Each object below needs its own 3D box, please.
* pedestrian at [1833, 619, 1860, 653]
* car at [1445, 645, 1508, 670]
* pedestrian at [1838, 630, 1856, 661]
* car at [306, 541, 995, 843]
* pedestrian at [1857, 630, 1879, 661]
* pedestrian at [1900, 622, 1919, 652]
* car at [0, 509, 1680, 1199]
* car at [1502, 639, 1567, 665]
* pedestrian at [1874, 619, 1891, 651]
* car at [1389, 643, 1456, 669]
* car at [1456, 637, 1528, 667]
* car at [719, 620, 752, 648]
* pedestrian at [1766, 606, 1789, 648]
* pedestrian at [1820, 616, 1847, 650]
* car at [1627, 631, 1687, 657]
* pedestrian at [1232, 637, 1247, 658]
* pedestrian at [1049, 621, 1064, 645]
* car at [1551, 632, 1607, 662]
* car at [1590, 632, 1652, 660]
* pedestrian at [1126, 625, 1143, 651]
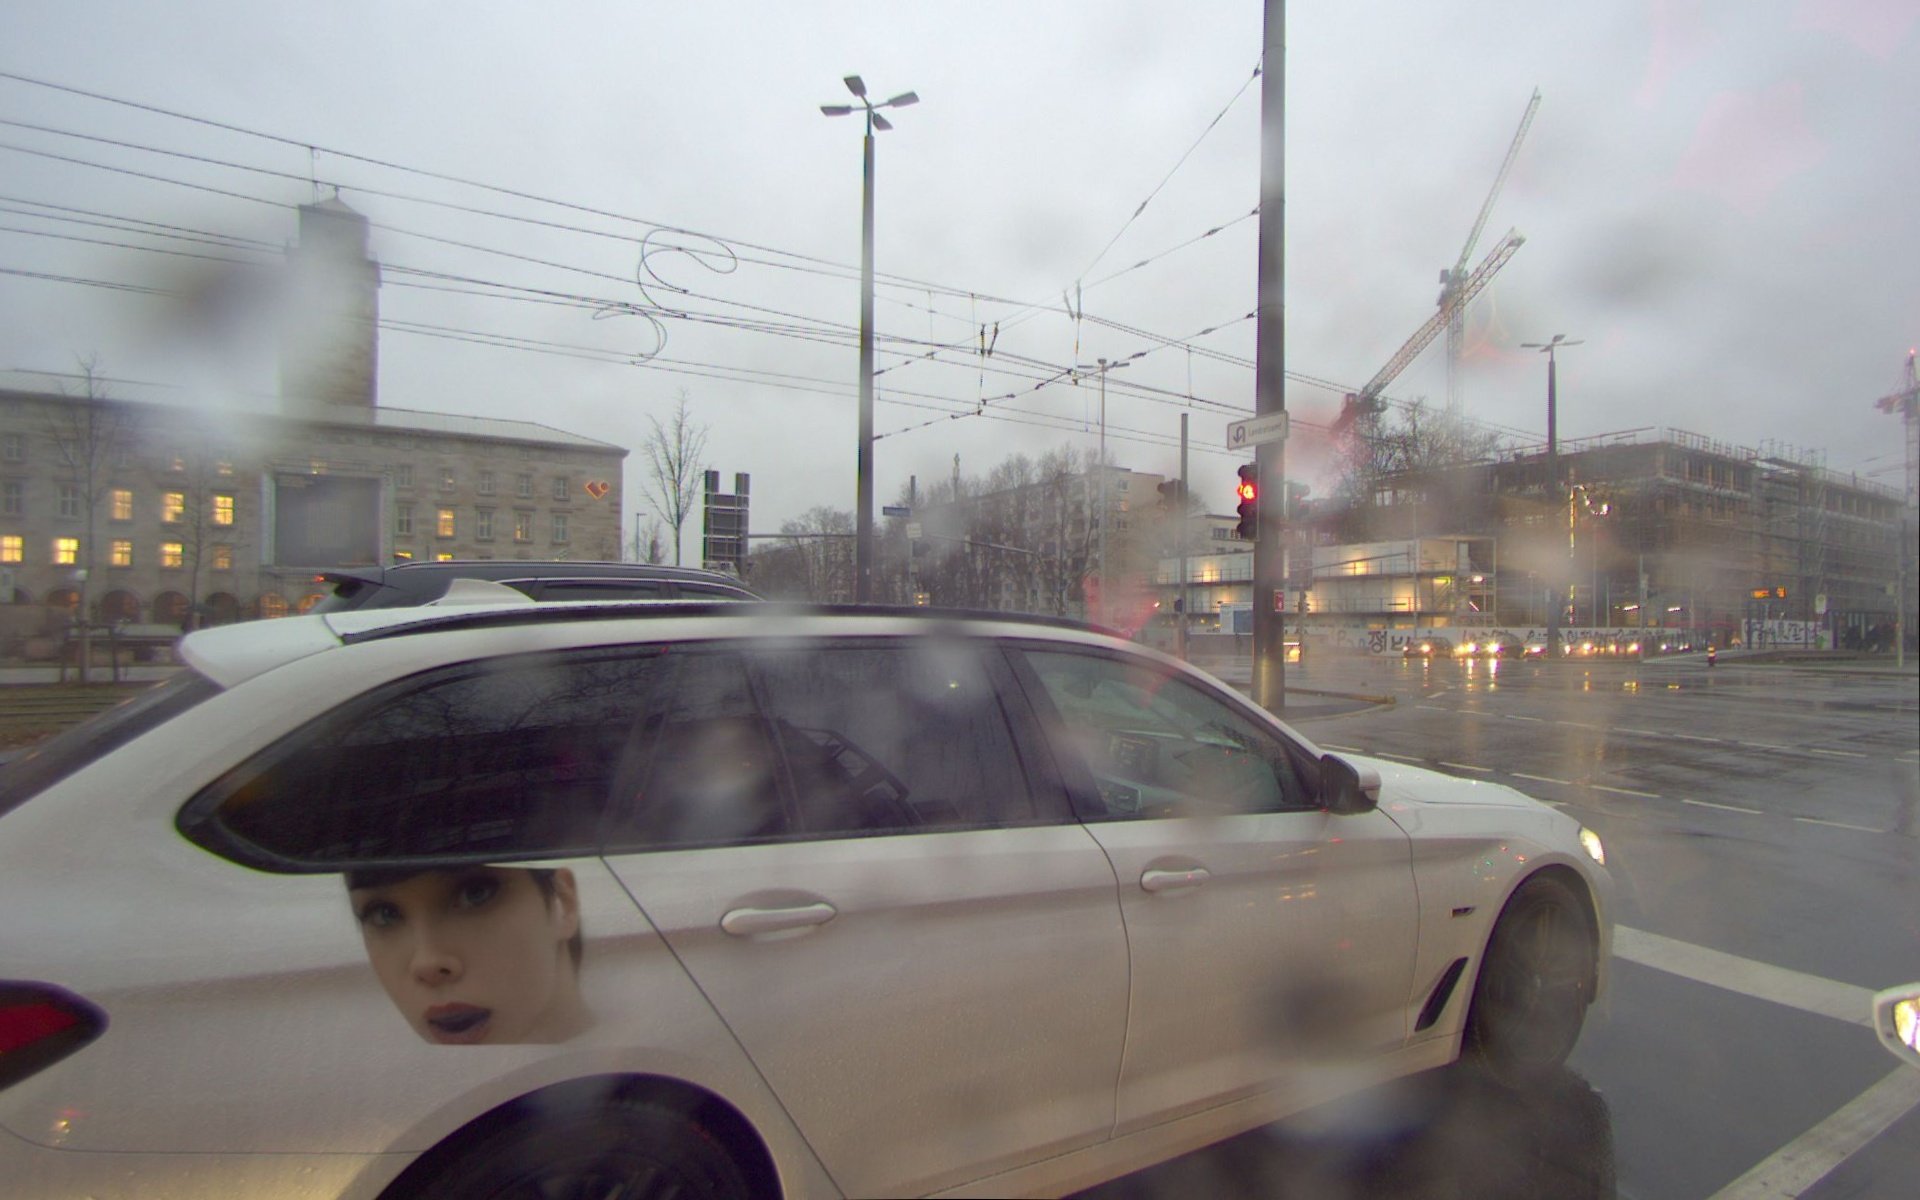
[{"bbox_3d":[55.296,2.227,62.631,1.081,2.040,0.938,2,0,-30],"label":"pedestrian"},{"bbox_3d":[34.783,3.861,67.668,3.953,1.550,1.984,2,-2,-30],"label":"car"},{"bbox_3d":[54.526,2.798,61.750,0.547,1.906,0.695,2,0,-30],"label":"pedestrian"},{"bbox_3d":[-2.069,0.562,7.235,4.238,1.605,1.958,2,-1,-29],"label":"car"},{"bbox_3d":[56.747,2.832,62.757,0.754,1.922,0.761,3,-1,-30],"label":"pedestrian"},{"bbox_3d":[65.984,2.586,69.680,1.085,2.040,0.934,2,0,-39],"label":"pedestrian"},{"bbox_3d":[0.007,0.708,3.102,4.508,1.506,2.007,2,-2,-31],"label":"car"},{"bbox_3d":[35.879,3.250,62.719,4.577,1.550,2.059,2,-2,-40],"label":"car"},{"bbox_3d":[57.957,2.184,63.104,0.659,1.994,0.566,2,1,-36],"label":"pedestrian"},{"bbox_3d":[29.334,3.553,63.682,3.953,1.550,1.984,2,-2,-30],"label":"car"},{"bbox_3d":[31.304,3.030,59.132,3.953,1.679,1.984,2,-2,-30],"label":"car"},{"bbox_3d":[-19.760,2.964,88.279,2.031,2.454,4.734,1,-1,-24],"label":"car"},{"bbox_3d":[47.215,1.569,57.991,0.754,2.354,0.761,3,-1,-30],"label":"pedestrian"},{"bbox_3d":[53.537,2.002,61.557,1.081,2.040,0.937,2,0,-30],"label":"pedestrian"},{"bbox_3d":[50.666,3.206,72.987,3.951,1.814,1.985,2,0,-28],"label":"car"},{"bbox_3d":[18.892,3.240,67.935,0.715,1.407,0.725,2,-2,-28],"label":"pedestrian"},{"bbox_3d":[8.154,2.817,84.996,0.809,1.959,0.916,2,0,-36],"label":"pedestrian"},{"bbox_3d":[40.918,3.110,66.376,3.963,1.852,1.852,2,0,-37],"label":"car"},{"bbox_3d":[46.063,3.225,69.981,3.951,1.814,1.985,2,0,-28],"label":"car"},{"bbox_3d":[13.320,2.888,76.802,0.809,1.959,0.916,2,0,-36],"label":"pedestrian"}]
